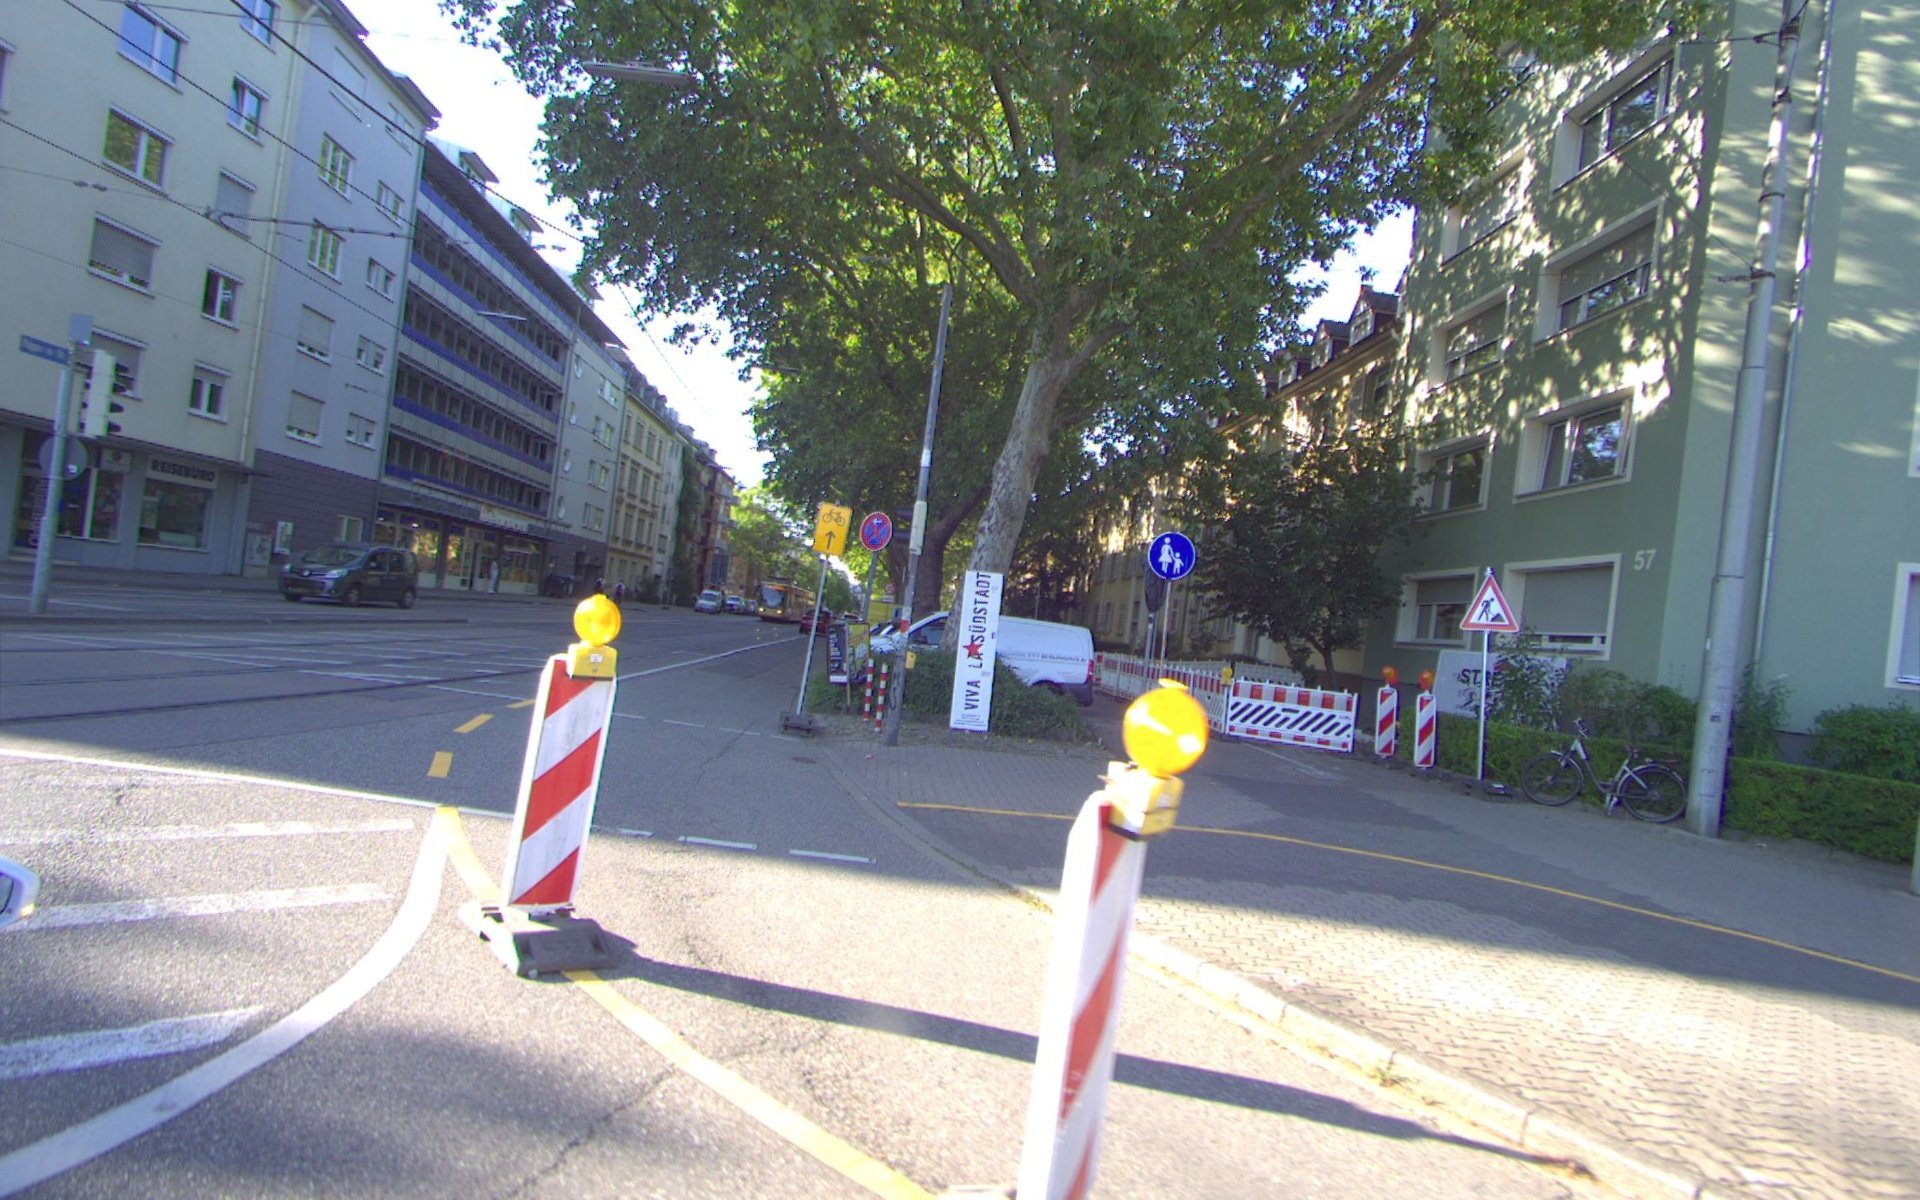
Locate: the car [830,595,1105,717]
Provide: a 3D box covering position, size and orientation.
[{"bbox_3d":[0.108,1.125,20.213,5.143,1.847,1.931,6,-2,-5],"label":"car"}]

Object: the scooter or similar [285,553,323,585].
[{"bbox_3d":[-21.736,-1.015,33.356,0.460,0.965,1.429,7,-1,-10],"label":"scooter or similar"}]

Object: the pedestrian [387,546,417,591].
[{"bbox_3d":[-21.708,-1.214,39.152,0.653,1.668,0.625,7,0,-5],"label":"pedestrian"}]

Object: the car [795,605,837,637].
[{"bbox_3d":[-8.180,1.252,57.563,1.865,1.582,4.394,5,-2,-3],"label":"car"}]

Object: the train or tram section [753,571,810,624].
[{"bbox_3d":[-14.458,-0.067,82.404,2.819,3.681,13.194,7,-1,-4],"label":"train or tram section"}]

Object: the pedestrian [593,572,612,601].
[{"bbox_3d":[-24.427,-0.920,68.740,0.879,1.886,0.789,7,0,-4],"label":"pedestrian"}]

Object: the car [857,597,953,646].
[{"bbox_3d":[-3.562,1.379,65.089,5.857,2.394,2.060,7,-1,-3],"label":"car"}]

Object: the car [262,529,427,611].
[{"bbox_3d":[-16.865,-0.737,27.876,1.881,1.828,4.361,7,-1,-3],"label":"car"}]

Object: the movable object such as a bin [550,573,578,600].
[{"bbox_3d":[-23.411,-0.815,59.481,0.998,1.445,1.256,7,-1,-3],"label":"movable object such as a bin"}]

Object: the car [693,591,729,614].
[{"bbox_3d":[-19.740,0.210,79.841,1.866,1.583,4.391,7,-1,-4],"label":"car"}]

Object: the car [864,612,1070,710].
[{"bbox_3d":[0.119,1.352,22.879,4.341,1.621,1.942,7,-1,-3],"label":"car"}]

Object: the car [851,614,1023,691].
[{"bbox_3d":[-0.701,1.437,28.122,4.519,1.524,1.918,7,-1,-6],"label":"car"}]

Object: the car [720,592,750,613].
[{"bbox_3d":[-20.193,0.251,90.414,1.866,1.583,4.391,7,-1,-4],"label":"car"}]

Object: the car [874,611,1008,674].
[{"bbox_3d":[-0.718,1.547,37.027,4.642,1.743,1.919,7,-1,-4],"label":"car"}]

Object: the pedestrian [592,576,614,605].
[{"bbox_3d":[-21.791,-0.600,61.420,0.879,1.644,1.034,7,-1,-3],"label":"pedestrian"}]

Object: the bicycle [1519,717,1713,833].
[{"bbox_3d":[8.196,2.152,12.623,1.906,1.069,0.519,6,-1,40],"label":"bicycle"}]

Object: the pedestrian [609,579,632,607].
[{"bbox_3d":[-20.870,-0.429,61.873,0.879,1.644,1.034,7,0,-3],"label":"pedestrian"}]

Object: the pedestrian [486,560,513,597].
[{"bbox_3d":[-23.003,-1.080,50.250,1.019,1.682,1.221,7,0,-23],"label":"pedestrian"}]

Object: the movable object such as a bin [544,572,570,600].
[{"bbox_3d":[-23.273,-0.807,58.051,0.999,1.445,1.143,7,-1,-8],"label":"movable object such as a bin"}]
